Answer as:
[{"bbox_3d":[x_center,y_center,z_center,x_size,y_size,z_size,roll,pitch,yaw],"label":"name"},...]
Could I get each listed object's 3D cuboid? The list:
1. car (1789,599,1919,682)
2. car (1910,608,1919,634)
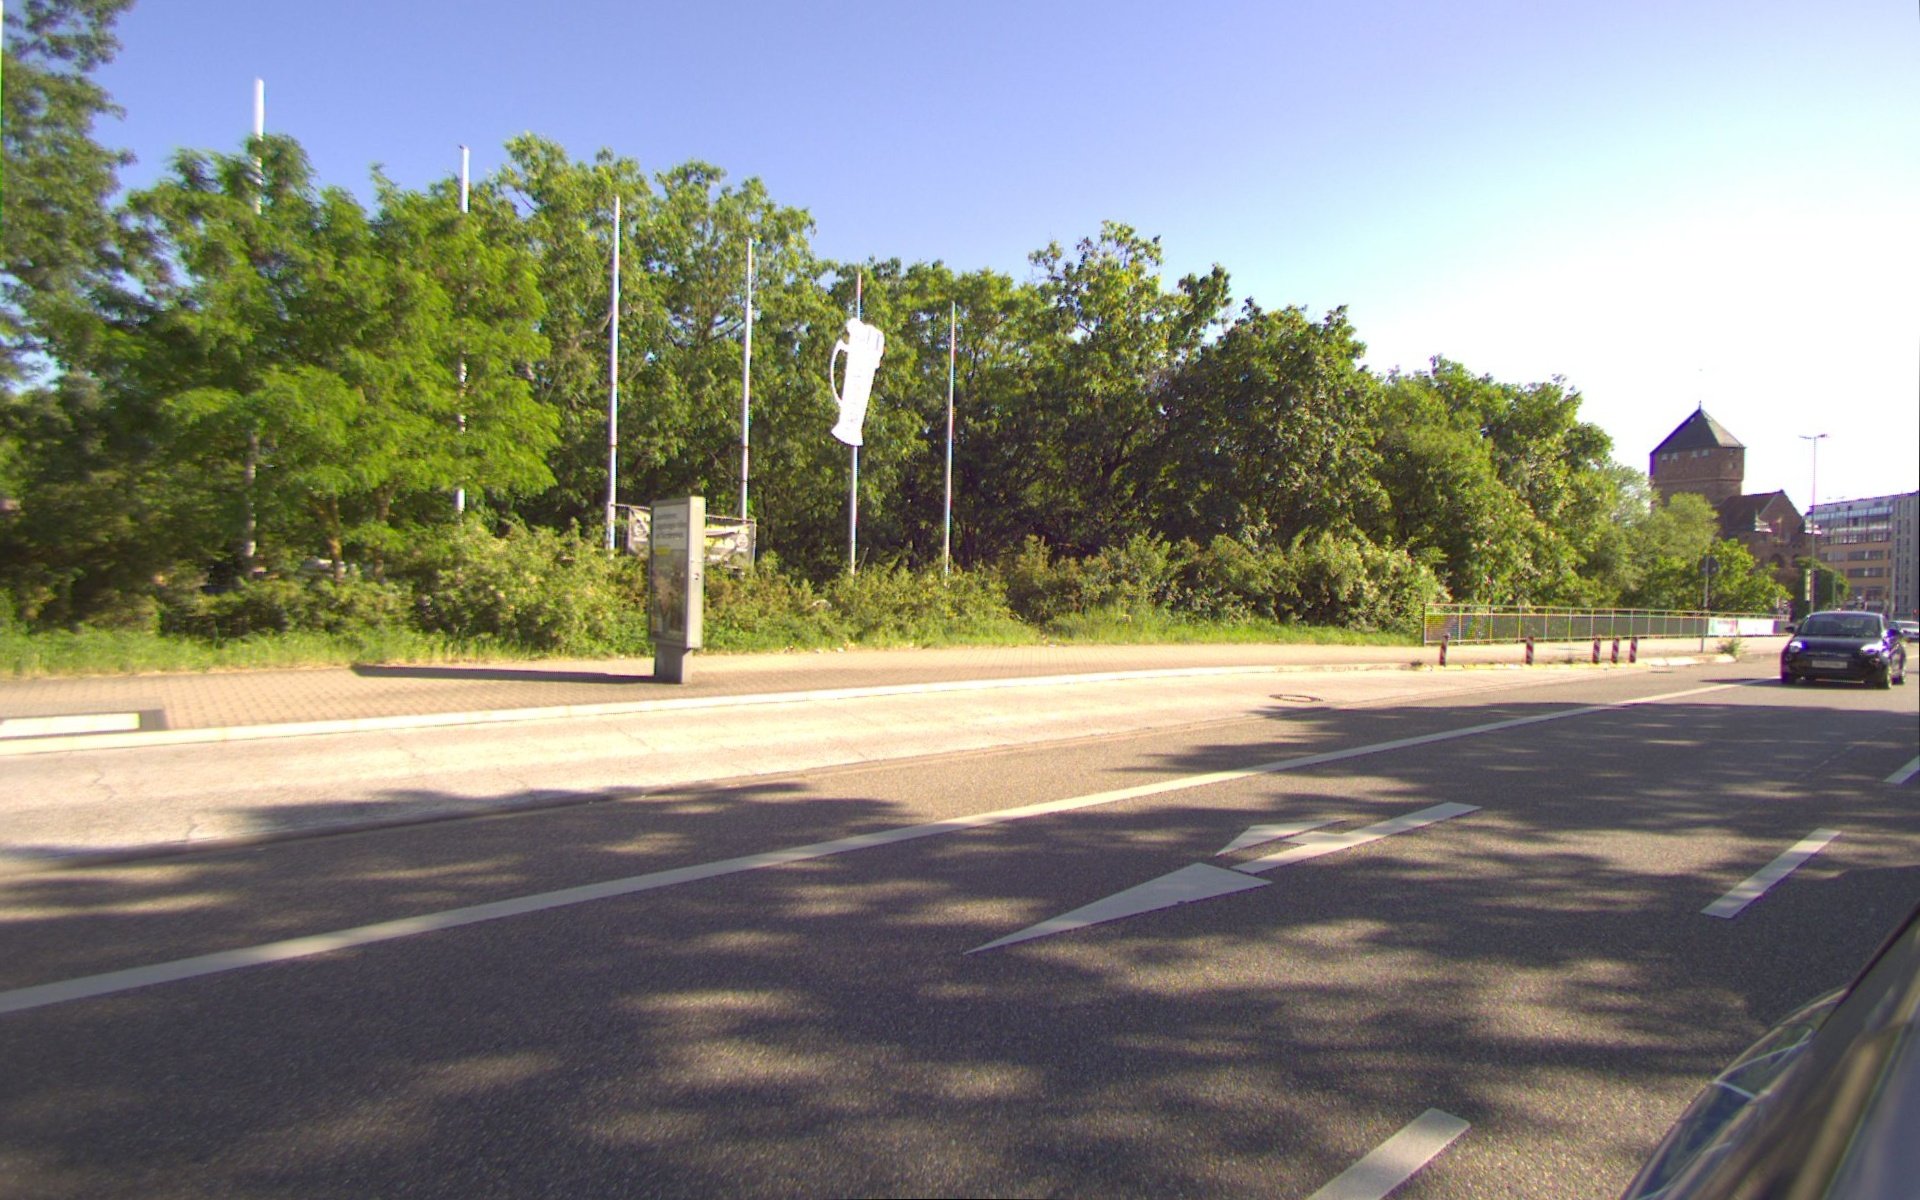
[{"bbox_3d":[18.501,0.776,20.812,3.500,1.522,1.677,0,1,-41],"label":"car"},{"bbox_3d":[63.430,1.394,66.061,1.993,1.624,4.146,2,1,43],"label":"car"}]
